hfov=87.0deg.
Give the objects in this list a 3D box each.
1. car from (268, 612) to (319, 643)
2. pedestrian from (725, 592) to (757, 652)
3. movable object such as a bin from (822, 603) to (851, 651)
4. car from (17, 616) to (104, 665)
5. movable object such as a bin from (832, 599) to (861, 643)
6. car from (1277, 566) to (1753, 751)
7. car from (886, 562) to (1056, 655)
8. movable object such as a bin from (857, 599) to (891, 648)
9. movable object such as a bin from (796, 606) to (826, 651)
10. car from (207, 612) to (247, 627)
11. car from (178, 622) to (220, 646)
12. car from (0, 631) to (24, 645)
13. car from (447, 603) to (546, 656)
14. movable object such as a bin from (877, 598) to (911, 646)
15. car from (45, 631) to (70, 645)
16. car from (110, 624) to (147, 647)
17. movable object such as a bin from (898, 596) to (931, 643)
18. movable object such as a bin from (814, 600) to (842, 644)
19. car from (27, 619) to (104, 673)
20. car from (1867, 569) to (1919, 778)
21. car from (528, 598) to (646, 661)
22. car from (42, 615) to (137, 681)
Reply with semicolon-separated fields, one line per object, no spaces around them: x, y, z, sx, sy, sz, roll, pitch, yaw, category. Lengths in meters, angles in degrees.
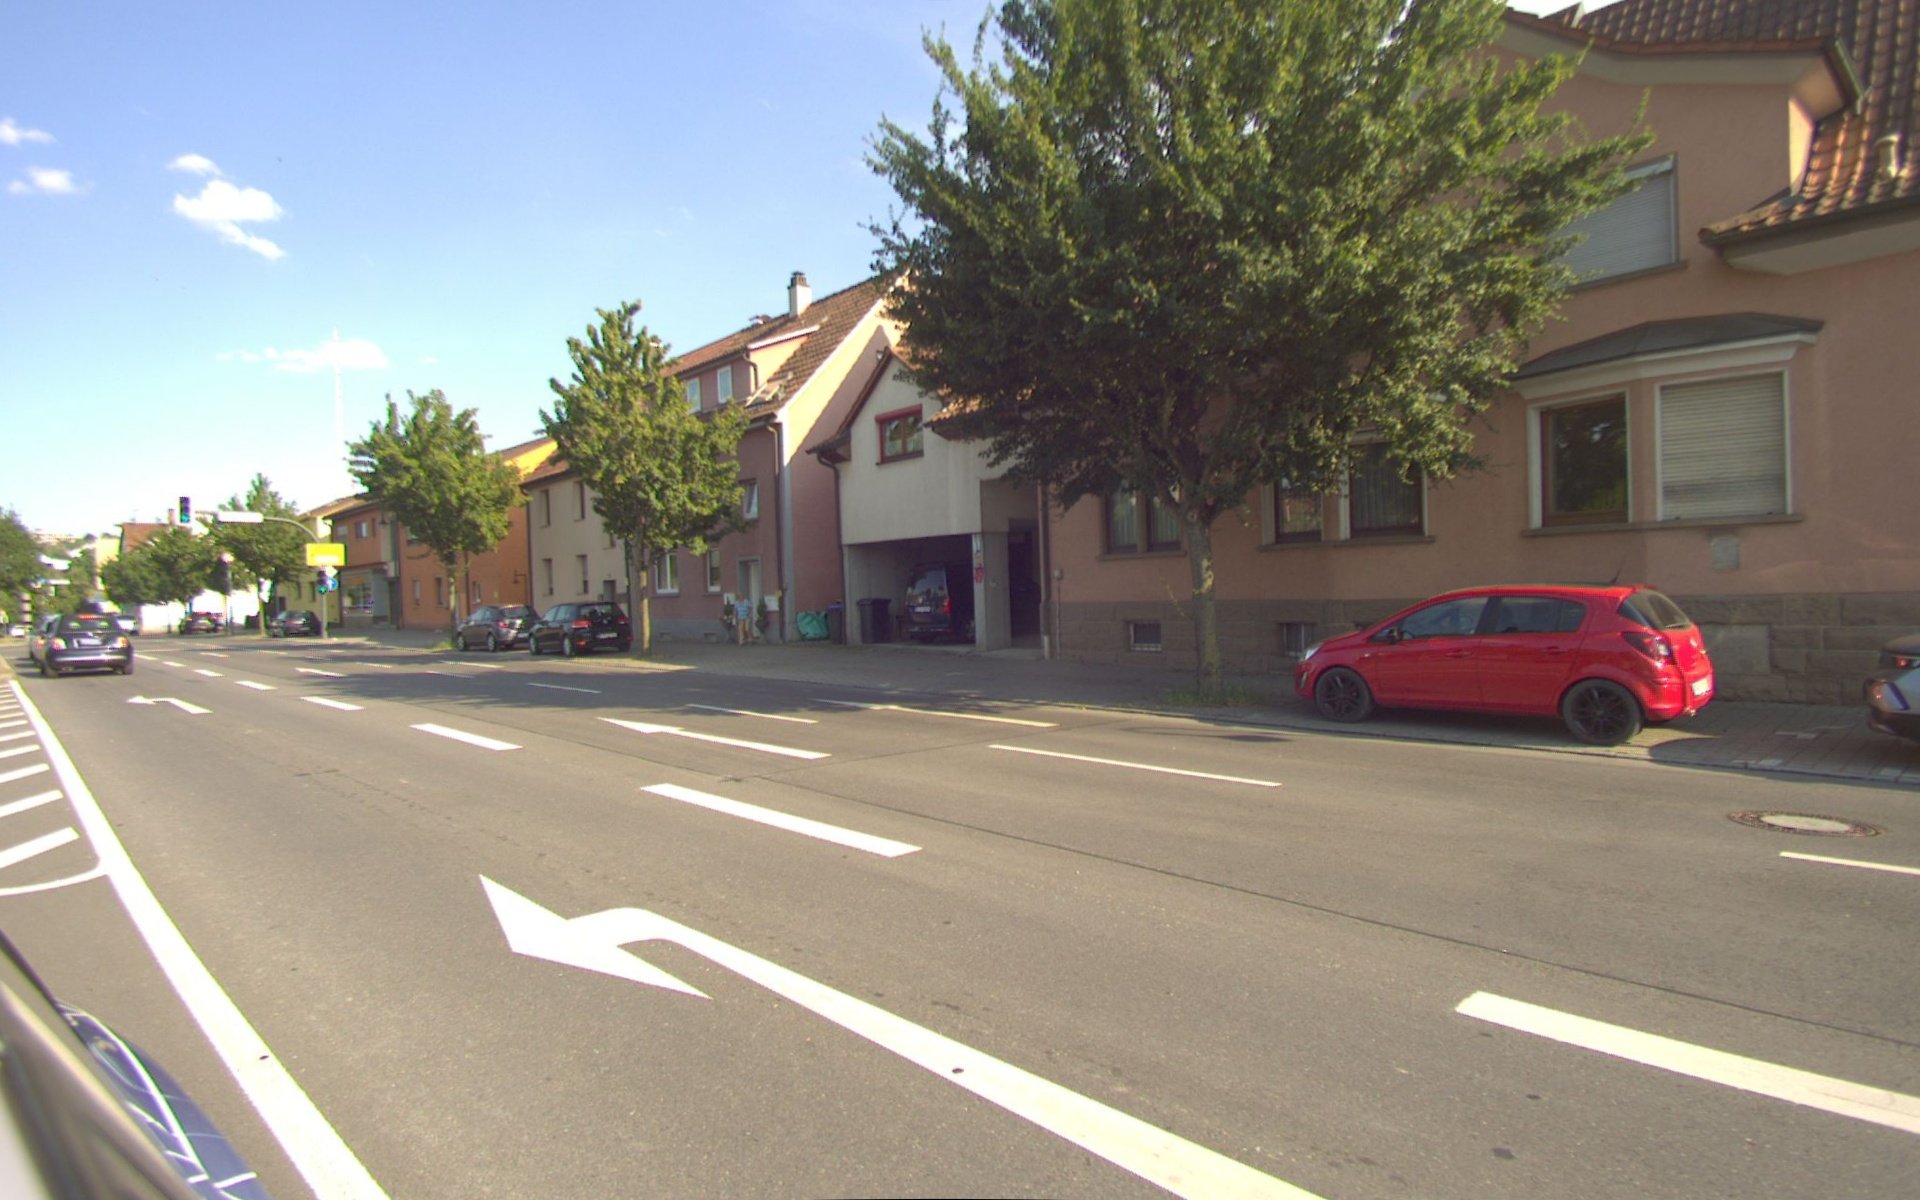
-35.319;1.461;53.583;1.573;1.449;3.779;-7;3;-42;car
-6.092;0.604;28.154;0.766;1.619;0.723;-1;-1;-4;pedestrian
-3.024;0.649;24.701;0.501;1.146;0.470;-2;-1;44;movable object such as a bin
-30.041;1.338;33.758;4.567;1.500;1.814;-2;-1;44;car
-3.051;0.568;27.190;0.498;1.151;0.547;-1;-1;-43;movable object such as a bin
5.584;0.507;10.588;1.645;1.498;4.006;-5;2;-41;car
0.316;0.149;23.680;3.777;1.895;1.780;-4;2;-44;car
-2.059;0.565;24.229;0.575;1.151;0.560;-2;-1;39;movable object such as a bin
-3.902;0.734;26.428;0.544;1.151;0.530;-1;-1;-43;movable object such as a bin
-76.616;2.055;105.840;1.601;1.555;3.426;-2;-1;5;car
-53.603;2.409;71.281;1.833;1.607;4.463;-1;-1;-44;car
-106.203;4.260;113.299;4.001;1.422;1.738;-2;-1;44;car
-14.869;0.936;32.376;3.886;1.522;1.495;-2;1;43;car
-1.614;0.545;24.842;0.575;1.151;0.560;-2;-1;39;movable object such as a bin
-99.103;4.148;111.116;4.001;1.422;1.738;-2;-1;44;car
-63.227;2.678;76.965;4.414;1.624;1.667;-2;-1;44;car
-1.127;0.484;25.323;0.575;1.151;0.560;-2;-1;39;movable object such as a bin
-3.508;0.574;26.798;0.498;1.151;0.530;-1;-1;-43;movable object such as a bin
-25.989;1.284;29.369;1.570;1.438;3.581;-1;0;-43;car
8.926;0.488;6.797;1.734;1.490;4.006;-5;2;-41;car
-10.404;0.795;28.078;1.646;1.543;3.907;-4;2;-42;car
-21.336;1.143;24.769;1.515;1.473;3.508;-1;-1;-45;car
